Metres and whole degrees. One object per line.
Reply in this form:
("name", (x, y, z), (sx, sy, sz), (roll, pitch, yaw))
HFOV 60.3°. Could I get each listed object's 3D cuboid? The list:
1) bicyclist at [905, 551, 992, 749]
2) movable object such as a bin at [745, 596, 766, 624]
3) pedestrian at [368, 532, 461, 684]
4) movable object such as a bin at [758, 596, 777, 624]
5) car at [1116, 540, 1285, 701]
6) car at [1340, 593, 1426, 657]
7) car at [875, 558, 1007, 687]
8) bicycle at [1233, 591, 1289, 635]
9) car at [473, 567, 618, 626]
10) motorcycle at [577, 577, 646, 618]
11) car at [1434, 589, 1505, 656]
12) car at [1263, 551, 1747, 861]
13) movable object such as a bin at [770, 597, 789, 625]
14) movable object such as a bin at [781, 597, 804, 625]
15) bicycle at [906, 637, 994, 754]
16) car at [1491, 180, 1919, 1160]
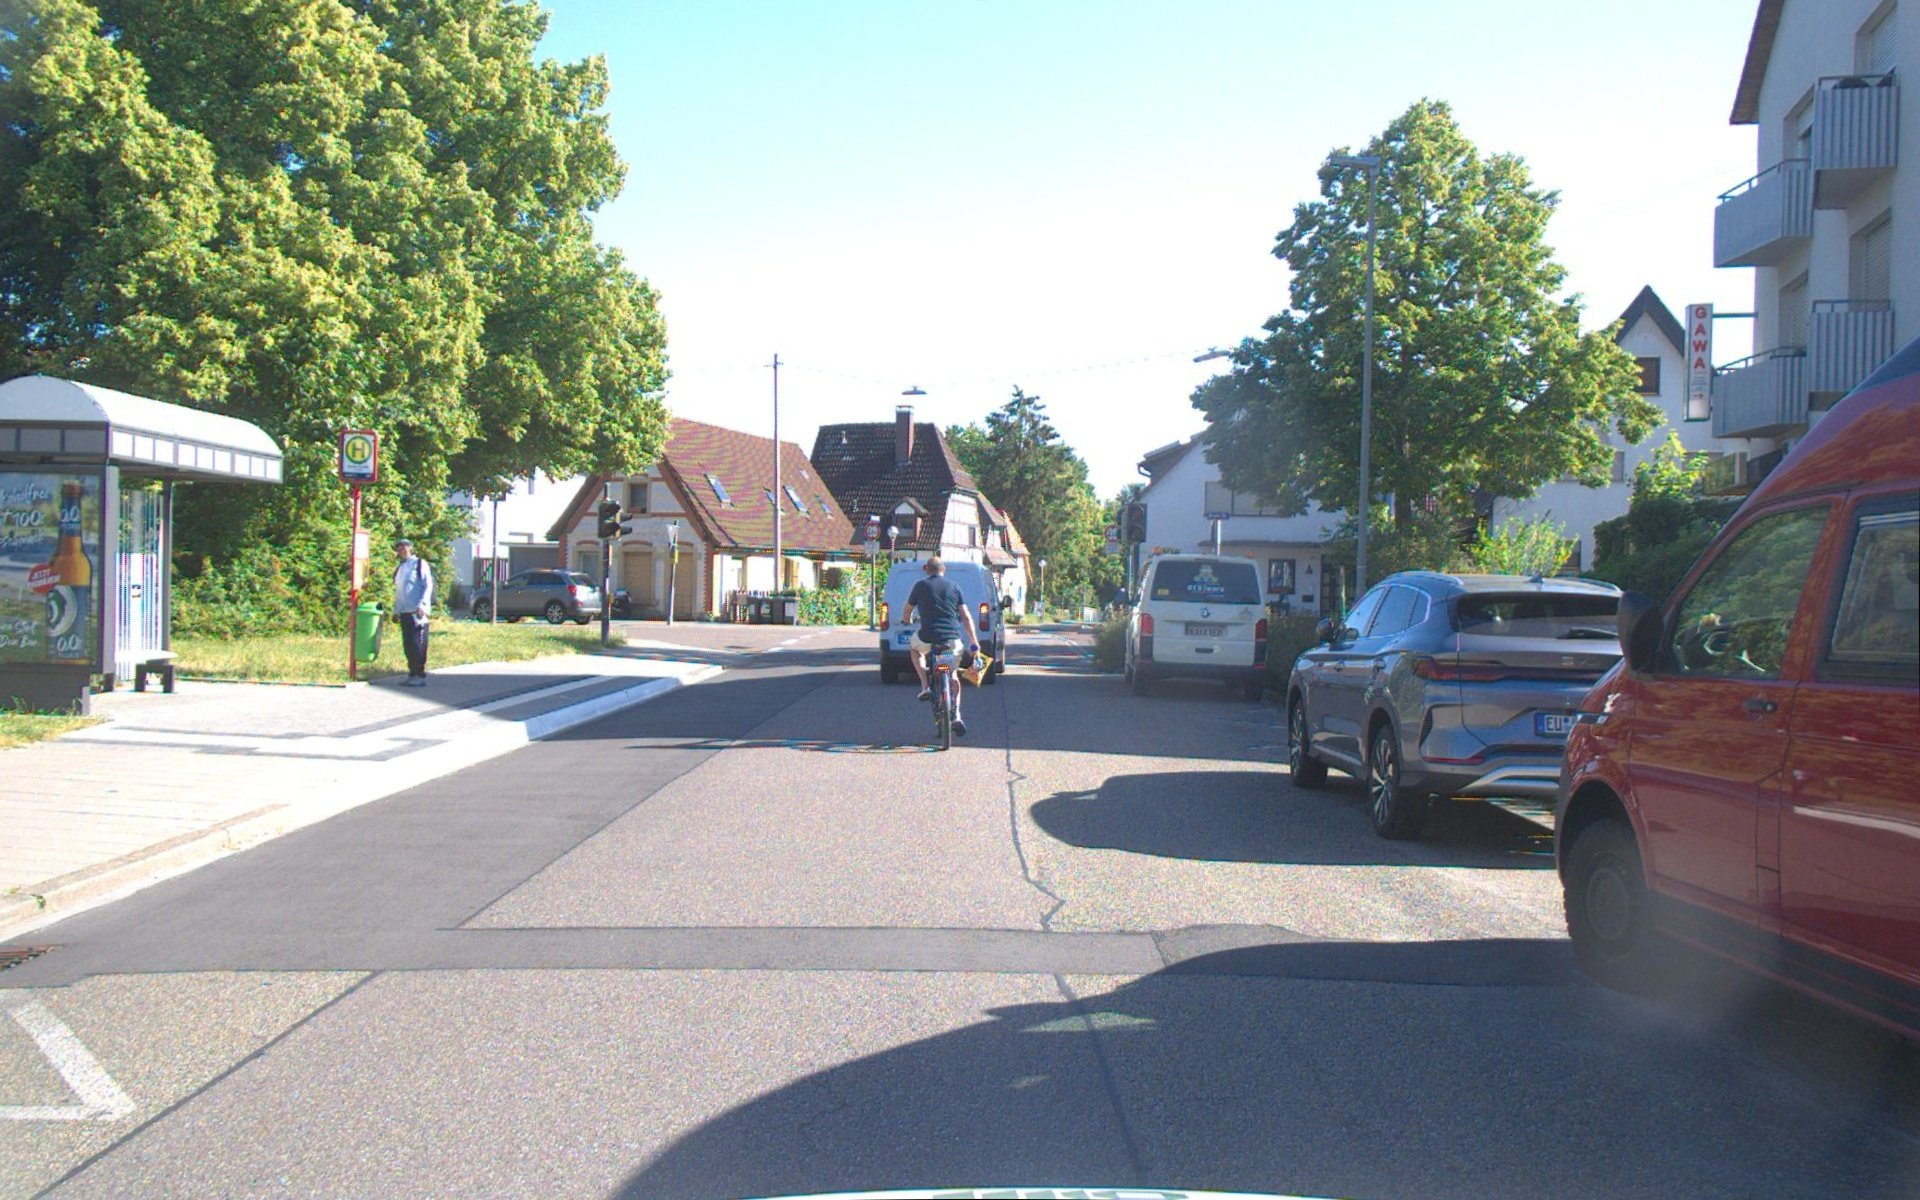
("bicyclist", (-0.125, 0.459, 15.761), (0.749, 1.820, 0.852), (2, 1, -3))
("movable object such as a bin", (-7.023, 0.344, 56.805), (0.497, 0.941, 0.626), (1, 1, 19))
("pedestrian", (-6.821, 0.094, 20.700), (0.702, 1.834, 0.770), (4, 1, 25))
("movable object such as a bin", (-6.579, 0.350, 56.608), (0.403, 0.921, 0.626), (1, 1, 19))
("car", (3.467, 0.277, 24.637), (1.952, 2.115, 4.579), (2, 0, 2))
("car", (11.413, 0.623, 44.900), (1.951, 1.446, 4.807), (2, 2, 11))
("car", (-0.213, 0.277, 26.802), (1.916, 1.880, 4.562), (1, 1, 2))
("bicycle", (9.501, 0.408, 52.258), (1.700, 1.306, 0.701), (2, 0, 9))
("car", (-13.447, -0.109, 53.655), (4.133, 1.755, 1.946), (2, 0, 19))
("motorcycle", (-12.040, -0.092, 57.157), (2.196, 1.317, 0.883), (1, 3, 20))
("car", (13.829, 0.555, 44.776), (1.672, 1.543, 4.406), (3, 2, 18))
("car", (3.640, 0.603, 12.055), (1.917, 1.768, 4.576), (2, 1, -1))
("movable object such as a bin", (-6.168, 0.362, 56.472), (0.402, 0.941, 0.626), (1, 1, 19))
("movable object such as a bin", (-5.691, 0.376, 56.305), (0.544, 0.941, 0.626), (1, 1, 19))
("bicycle", (-0.122, 0.876, 15.841), (0.759, 0.956, 2.290), (0, 1, -2))
("car", (3.576, 0.199, 5.094), (1.918, 2.690, 5.221), (2, 1, -3))
